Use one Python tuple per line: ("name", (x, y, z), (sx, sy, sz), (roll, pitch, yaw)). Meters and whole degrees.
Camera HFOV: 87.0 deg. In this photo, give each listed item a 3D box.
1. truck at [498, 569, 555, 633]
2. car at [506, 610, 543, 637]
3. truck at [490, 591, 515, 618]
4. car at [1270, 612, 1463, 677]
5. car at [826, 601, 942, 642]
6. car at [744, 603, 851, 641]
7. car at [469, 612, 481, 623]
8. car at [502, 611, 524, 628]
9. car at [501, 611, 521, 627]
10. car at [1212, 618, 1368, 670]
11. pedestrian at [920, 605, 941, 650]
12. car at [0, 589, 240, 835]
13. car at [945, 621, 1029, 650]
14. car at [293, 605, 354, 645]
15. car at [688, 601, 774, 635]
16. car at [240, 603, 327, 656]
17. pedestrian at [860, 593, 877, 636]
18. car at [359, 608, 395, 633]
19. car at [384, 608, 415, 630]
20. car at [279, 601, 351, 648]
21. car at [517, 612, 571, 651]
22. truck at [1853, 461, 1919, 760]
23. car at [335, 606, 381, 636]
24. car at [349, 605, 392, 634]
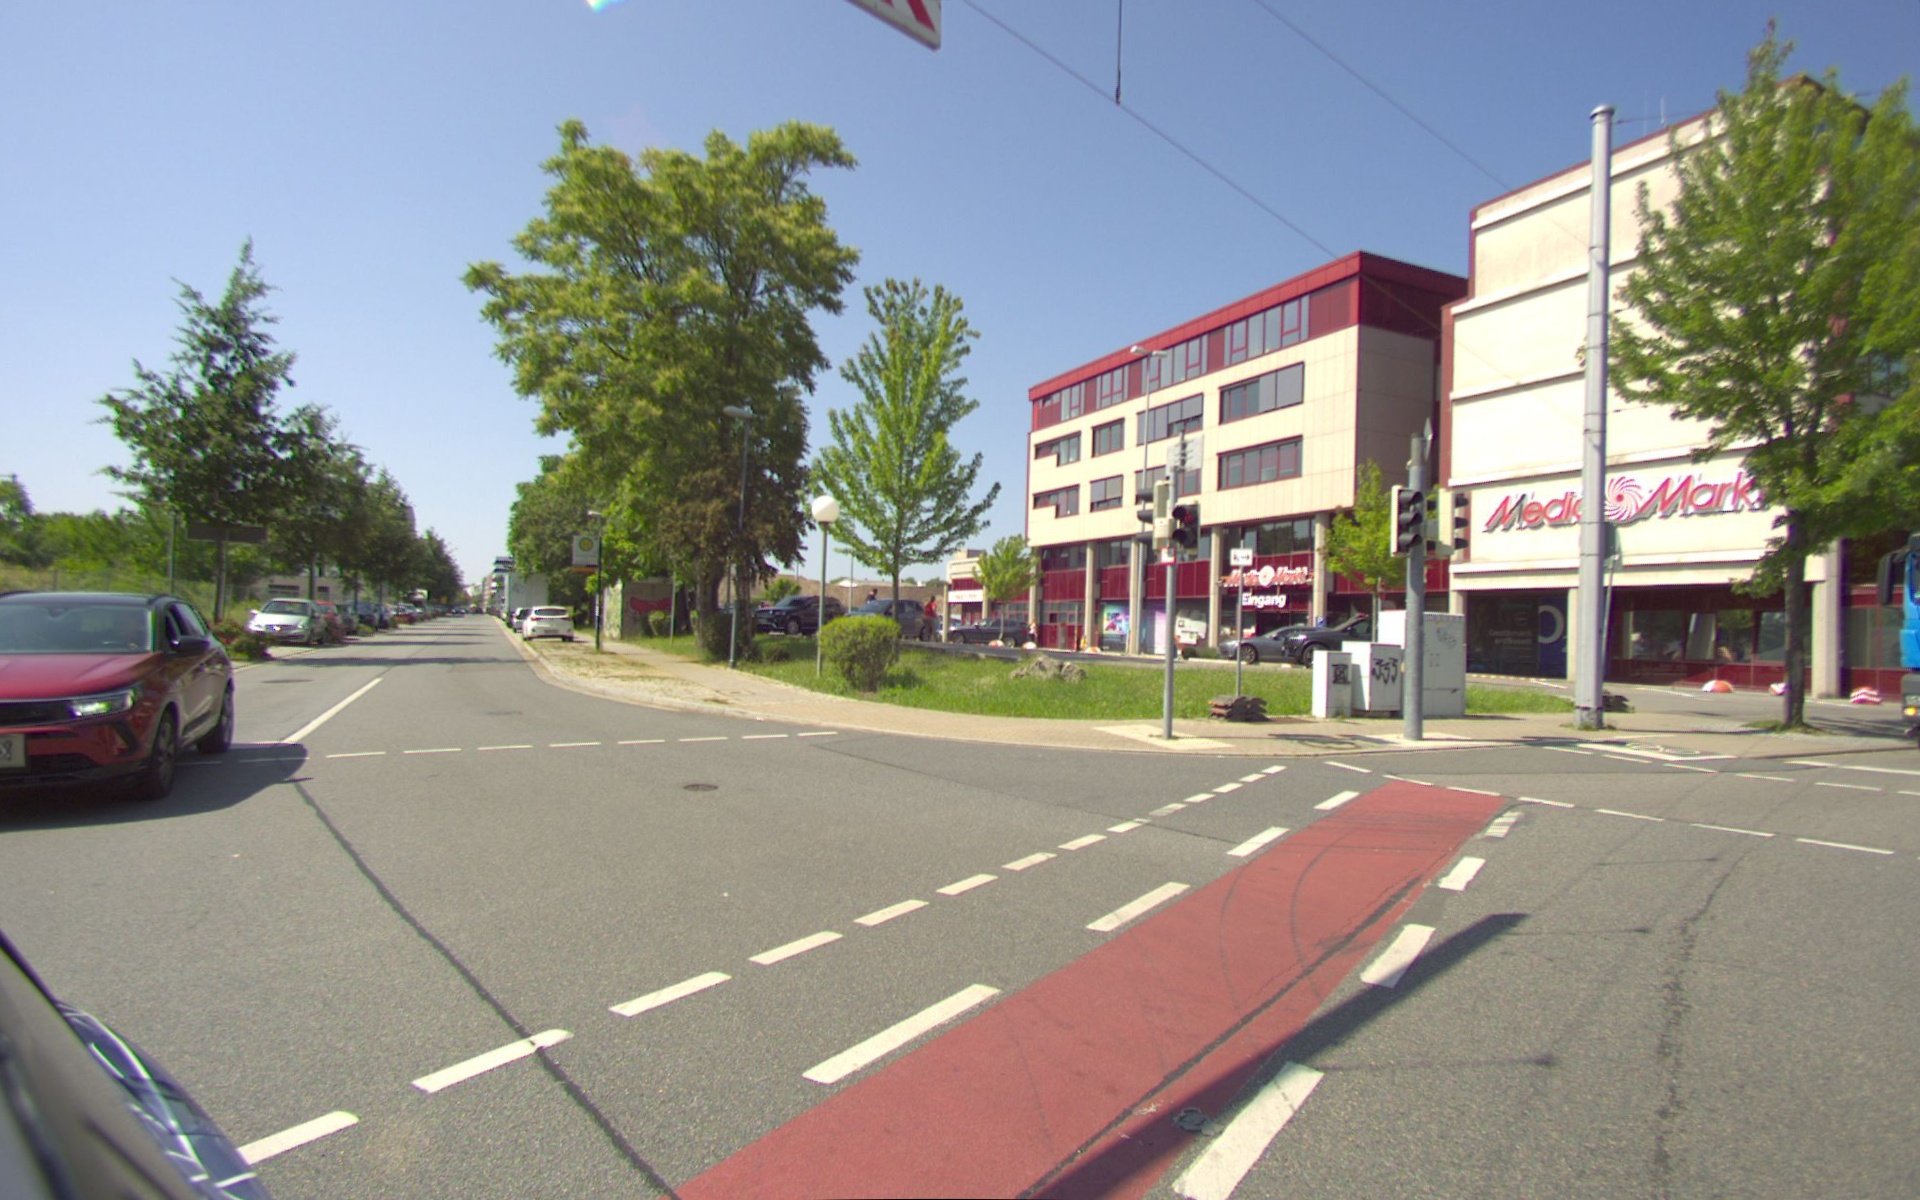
("truck", (-30.616, 0.173, 71.220), (3.297, 4.175, 9.308), (1, -1, -25))
("car", (-25.560, 1.383, 59.320), (1.784, 1.527, 4.013), (1, -1, -27))
("truck", (-58.218, 0.649, 128.932), (2.657, 3.345, 7.366), (2, -2, -23))
("car", (12.231, 1.362, 30.809), (5.062, 1.606, 2.179), (3, -3, 12))
("car", (-2.594, 0.730, 35.278), (1.718, 1.348, 3.933), (-1, -1, 43))
("car", (-6.804, 0.897, 42.829), (1.846, 1.504, 4.765), (0, -1, 31))
("car", (-84.312, 3.064, 175.814), (1.761, 1.807, 4.013), (2, -2, -24))
("car", (-41.272, 1.833, 93.390), (1.784, 1.527, 4.013), (0, -1, -24))
("car", (-45.915, 1.937, 103.458), (1.784, 1.527, 4.013), (0, -1, -24))
("car", (10.987, 1.447, 33.980), (4.828, 1.504, 1.907), (2, -2, 17))
("pedestrian", (-1.009, 0.947, 34.710), (0.558, 1.539, 0.755), (1, -2, 7))
("car", (-7.484, 0.773, 8.491), (1.791, 1.616, 4.321), (1, -1, -28))
("car", (1.452, 1.889, 54.310), (4.204, 1.462, 1.713), (1, -2, 17))
("car", (-28.845, 1.128, 45.992), (1.816, 1.628, 4.013), (4, -3, -26))
("car", (-12.843, 1.041, 57.078), (1.995, 1.818, 4.662), (-1, -3, 34))
("car", (-23.544, 1.017, 35.370), (1.816, 1.628, 4.384), (5, -3, -26))
("pedestrian", (-3.302, 0.529, 36.619), (0.556, 1.539, 0.757), (1, -2, -4))
("car", (-40.968, 1.419, 71.138), (1.816, 1.628, 4.013), (4, -3, -26))
("car", (-44.036, 1.507, 79.563), (1.816, 1.628, 4.013), (4, -3, -26))
("car", (-25.081, 0.967, 39.480), (1.816, 1.628, 4.013), (4, -3, -26))
("car", (-17.298, 1.272, 41.994), (1.736, 1.504, 4.013), (1, -1, -27))
("truck", (14.214, 0.174, 12.768), (4.952, 3.636, 2.761), (2, -2, -27))
("car", (-32.765, 1.129, 55.159), (1.837, 1.554, 4.013), (2, -2, -26))
("car", (-35.438, 1.177, 60.917), (1.816, 1.628, 4.013), (4, -3, -26))
